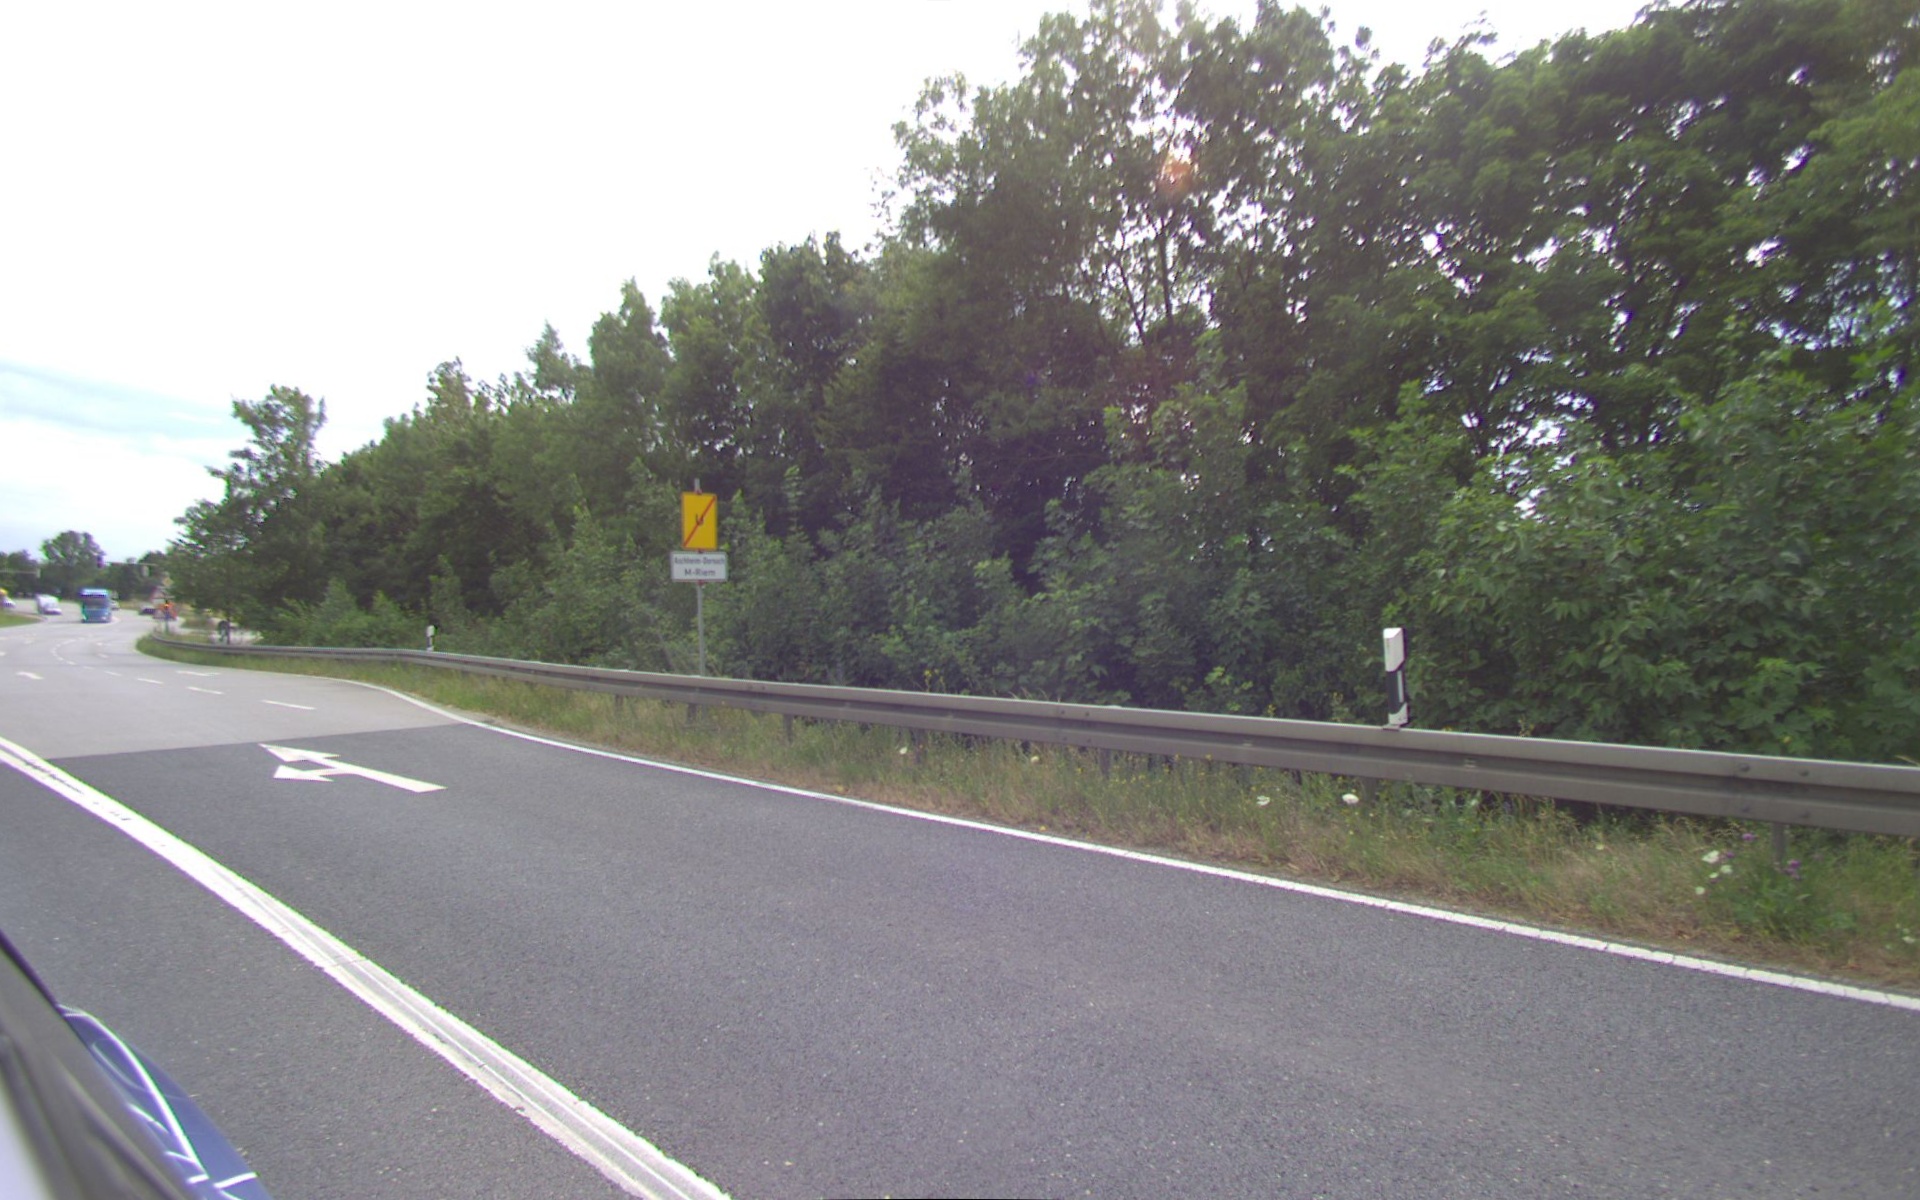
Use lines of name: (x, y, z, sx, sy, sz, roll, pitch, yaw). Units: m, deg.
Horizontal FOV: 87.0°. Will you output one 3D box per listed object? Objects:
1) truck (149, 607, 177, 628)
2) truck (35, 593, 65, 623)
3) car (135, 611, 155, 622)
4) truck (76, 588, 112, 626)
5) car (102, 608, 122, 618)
truck: (-104.500, 2.361, 132.667, 2.288, 2.621, 6.030, 4, -4, -42)
truck: (-139.807, 1.189, 155.403, 2.983, 4.383, 9.580, 4, -3, -43)
car: (-126.357, 2.602, 156.833, 4.002, 1.582, 1.894, 0, -3, 45)
truck: (-105.709, 0.886, 123.652, 2.981, 4.383, 9.586, 4, -3, -40)
car: (-147.636, 2.251, 176.178, 3.998, 1.582, 1.896, 0, -3, 41)
